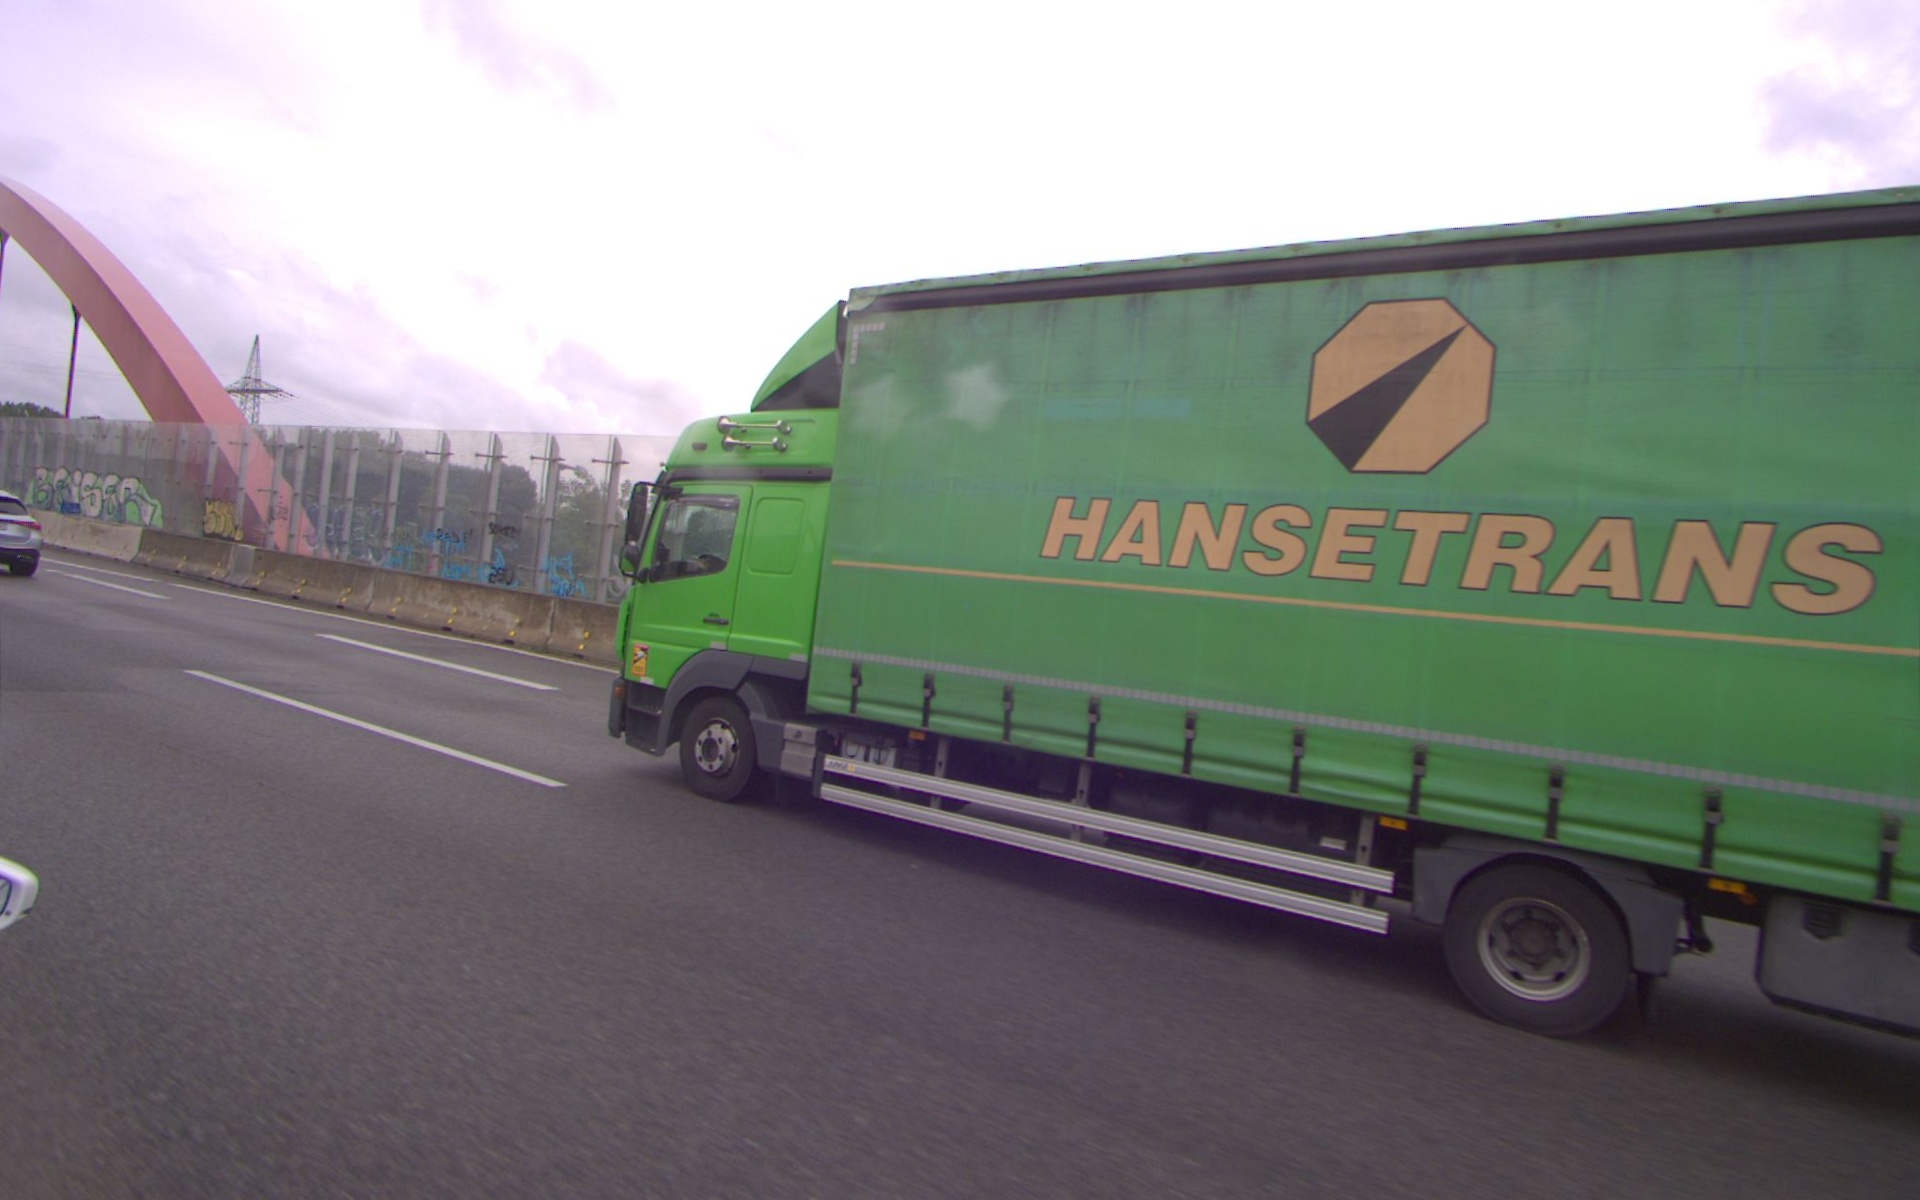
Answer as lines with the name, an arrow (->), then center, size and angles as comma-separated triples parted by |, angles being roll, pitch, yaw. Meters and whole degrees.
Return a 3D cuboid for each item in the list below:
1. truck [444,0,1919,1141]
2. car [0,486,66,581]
truck -> 1.566, -0.834, 7.529 | 11.032, 5.327, 4.005 | 7, -1, 31
car -> -19.976, -1.553, 19.693 | 5.237, 1.638, 1.999 | 7, -2, 29
